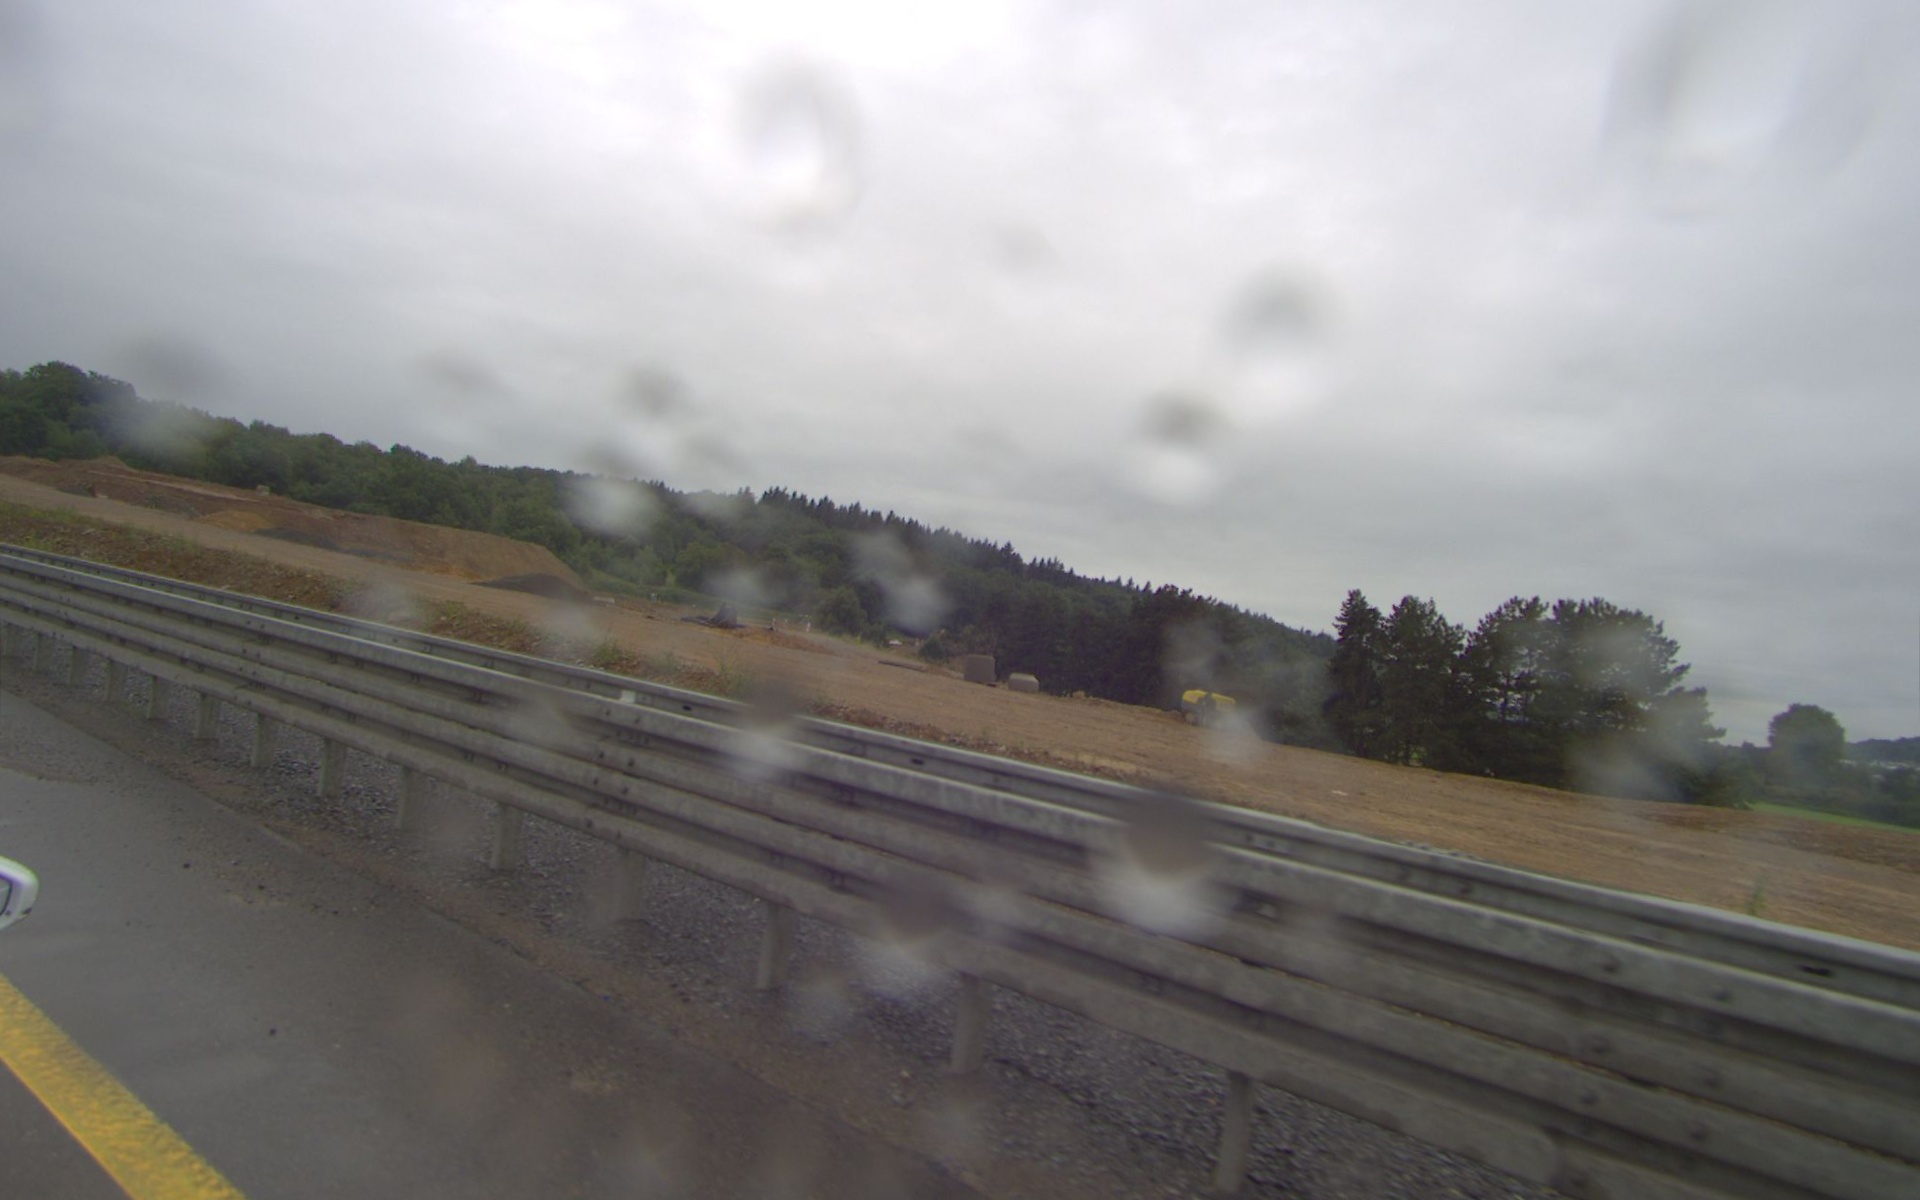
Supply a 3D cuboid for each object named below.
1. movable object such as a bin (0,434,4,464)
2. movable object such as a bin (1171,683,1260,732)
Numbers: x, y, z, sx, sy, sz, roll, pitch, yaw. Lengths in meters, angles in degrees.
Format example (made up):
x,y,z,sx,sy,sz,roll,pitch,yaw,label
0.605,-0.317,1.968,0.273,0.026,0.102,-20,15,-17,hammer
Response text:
x,y,z,sx,sy,sz,roll,pitch,yaw,label
-100.958,-15.461,102.921,6.447,3.641,2.347,6,-1,28,movable object such as a bin
8.994,3.771,35.399,2.659,1.316,1.391,6,-2,27,movable object such as a bin
